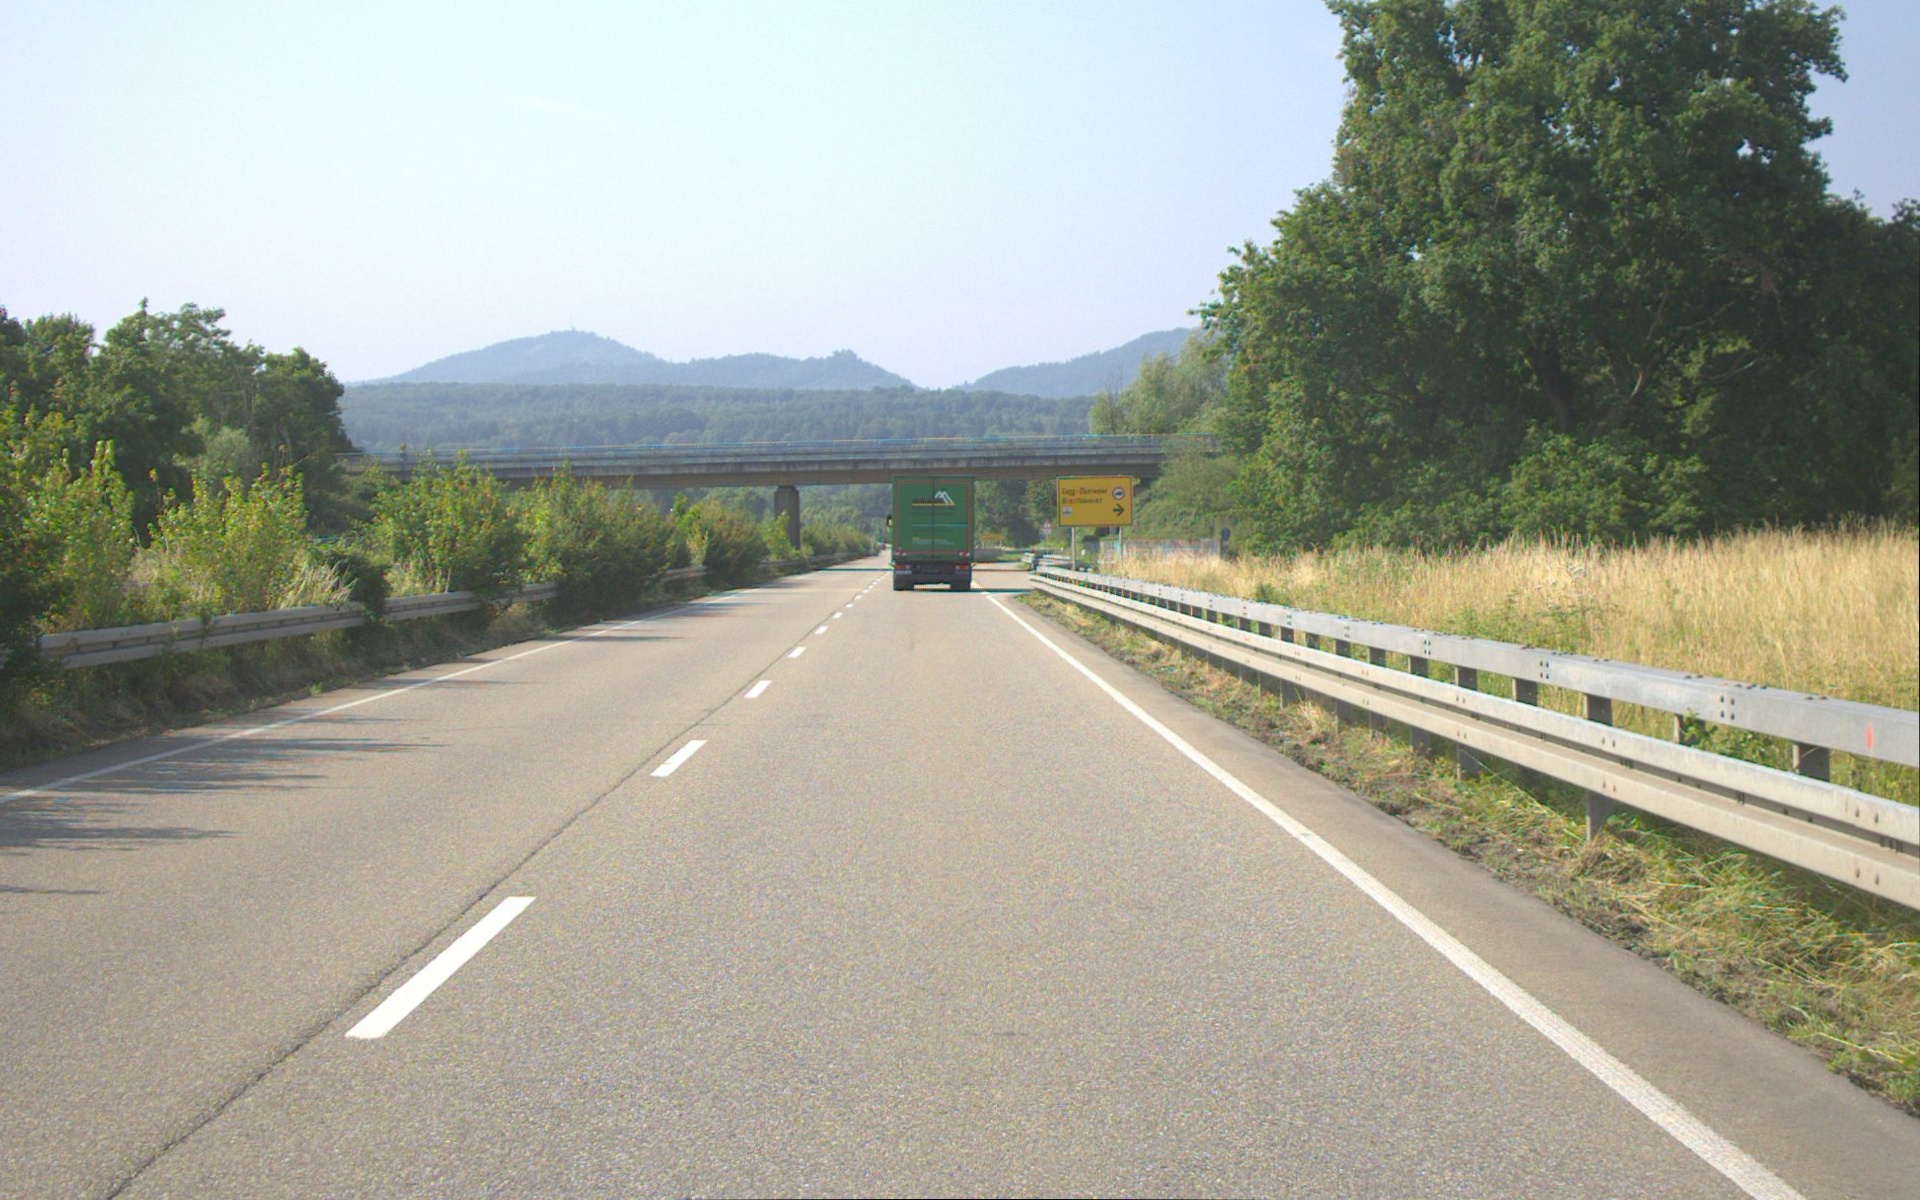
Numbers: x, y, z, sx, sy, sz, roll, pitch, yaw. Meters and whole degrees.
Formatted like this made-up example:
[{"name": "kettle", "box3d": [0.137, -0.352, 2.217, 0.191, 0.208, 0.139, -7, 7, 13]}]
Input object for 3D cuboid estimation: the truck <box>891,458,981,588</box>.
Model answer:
[{"name": "truck", "box3d": [-0.759, -2.588, 111.320, 2.722, 3.951, 10.417, 1, 2, 0]}]
